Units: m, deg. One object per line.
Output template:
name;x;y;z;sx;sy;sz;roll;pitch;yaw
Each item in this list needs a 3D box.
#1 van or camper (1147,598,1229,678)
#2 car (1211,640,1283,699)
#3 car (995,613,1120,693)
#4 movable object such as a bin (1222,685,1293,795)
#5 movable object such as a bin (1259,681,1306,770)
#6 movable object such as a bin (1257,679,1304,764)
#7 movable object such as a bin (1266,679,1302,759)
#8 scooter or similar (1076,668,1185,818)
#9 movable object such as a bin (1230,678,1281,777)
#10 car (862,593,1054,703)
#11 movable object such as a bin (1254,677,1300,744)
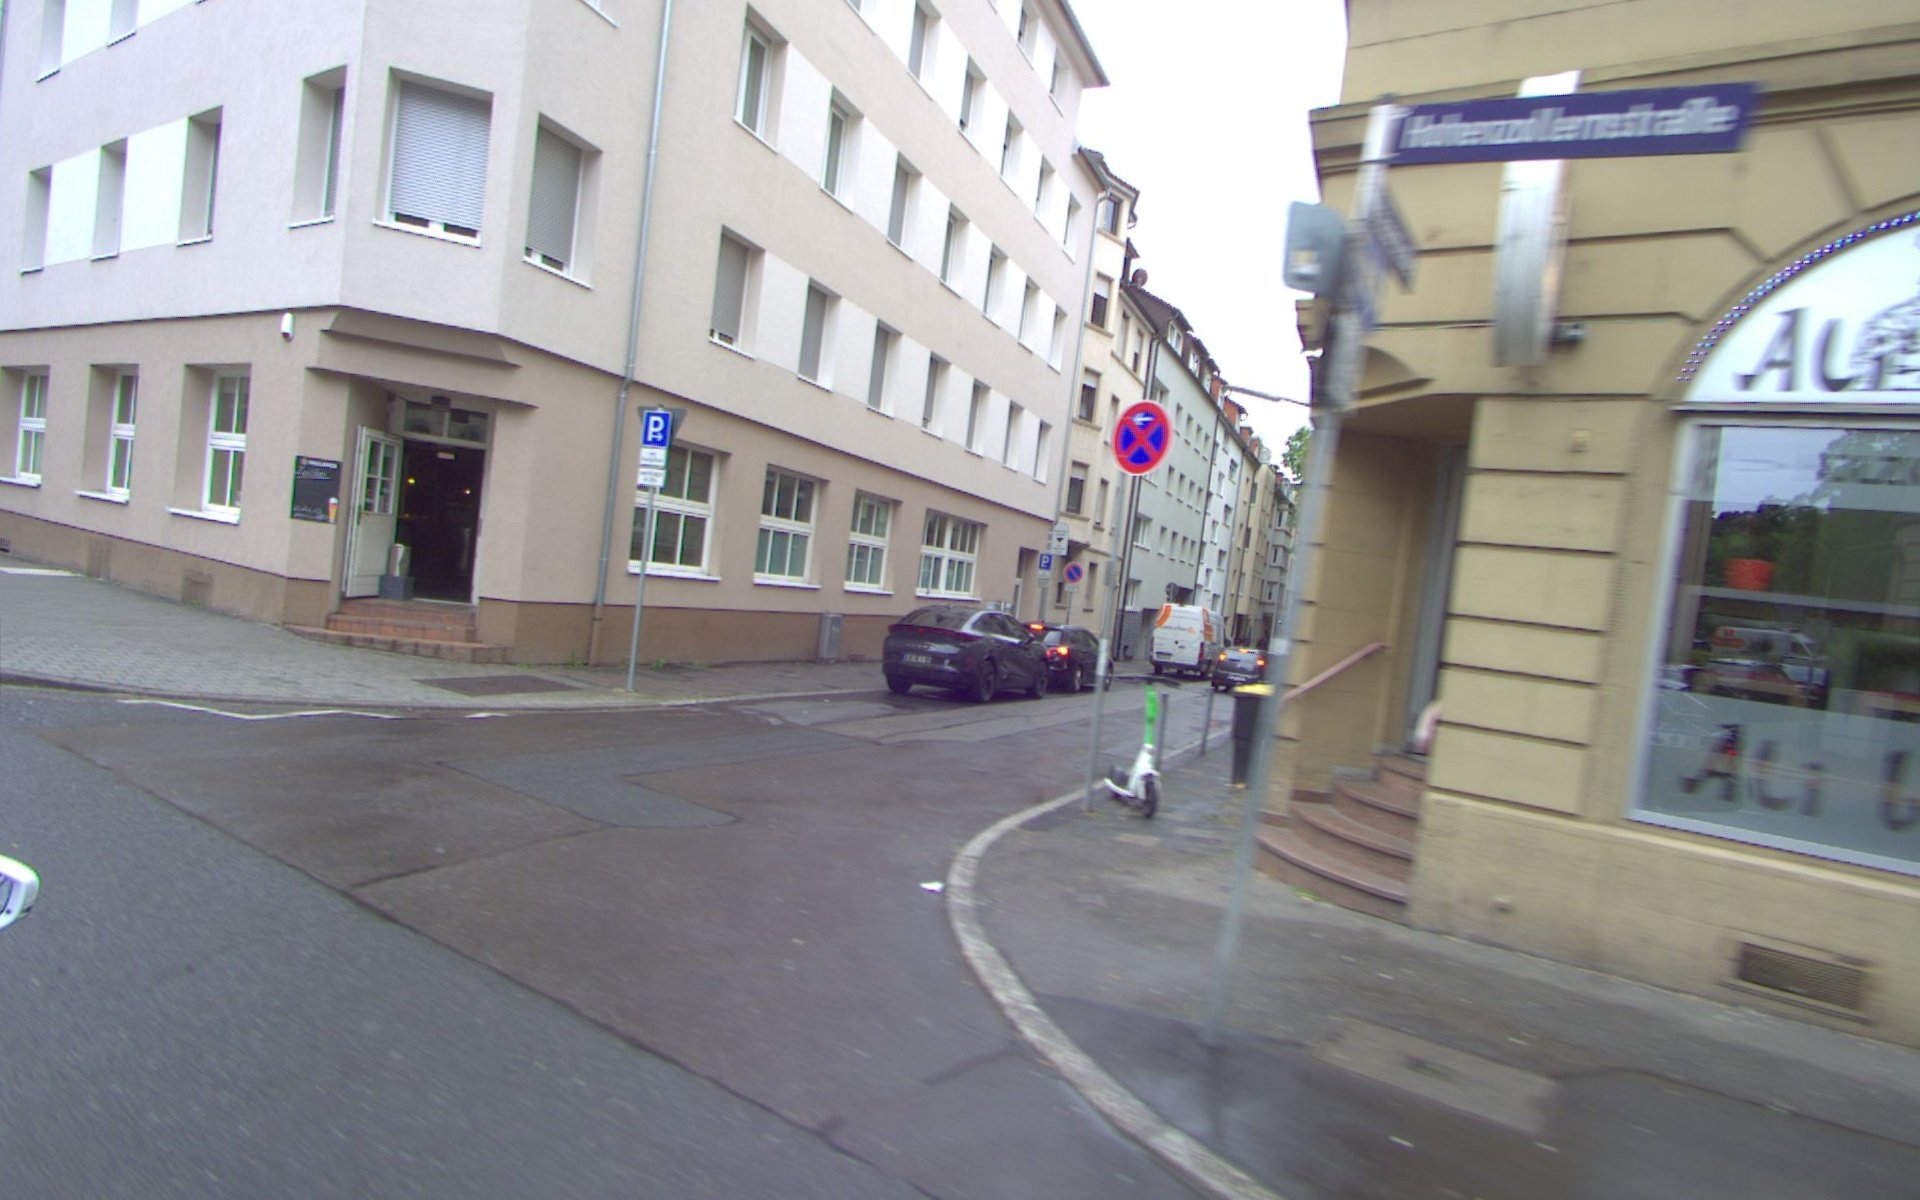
van or camper;8.724;1.517;38.101;1.964;2.519;4.968;6;-3;23
car;9.270;2.196;32.291;1.705;1.591;3.999;6;-1;22
car;2.347;1.229;23.293;1.705;1.510;3.999;6;-1;22
movable object such as a bin;3.150;1.471;10.643;0.516;1.057;0.343;7;-1;33
movable object such as a bin;4.080;1.576;12.726;0.452;1.058;0.348;5;0;23
movable object such as a bin;4.277;1.612;13.421;0.452;1.057;0.348;6;-2;27
movable object such as a bin;4.552;1.668;14.138;0.331;1.057;0.387;6;-2;27
scooter or similar;1.451;1.199;8.761;0.458;1.142;1.376;3;-2;-10
movable object such as a bin;3.444;1.472;11.702;0.434;1.078;0.349;6;-2;22
car;0.108;0.877;18.237;2.010;1.571;3.999;6;-1;22
movable object such as a bin;5.049;1.759;16.024;0.496;1.006;0.447;5;-2;36
